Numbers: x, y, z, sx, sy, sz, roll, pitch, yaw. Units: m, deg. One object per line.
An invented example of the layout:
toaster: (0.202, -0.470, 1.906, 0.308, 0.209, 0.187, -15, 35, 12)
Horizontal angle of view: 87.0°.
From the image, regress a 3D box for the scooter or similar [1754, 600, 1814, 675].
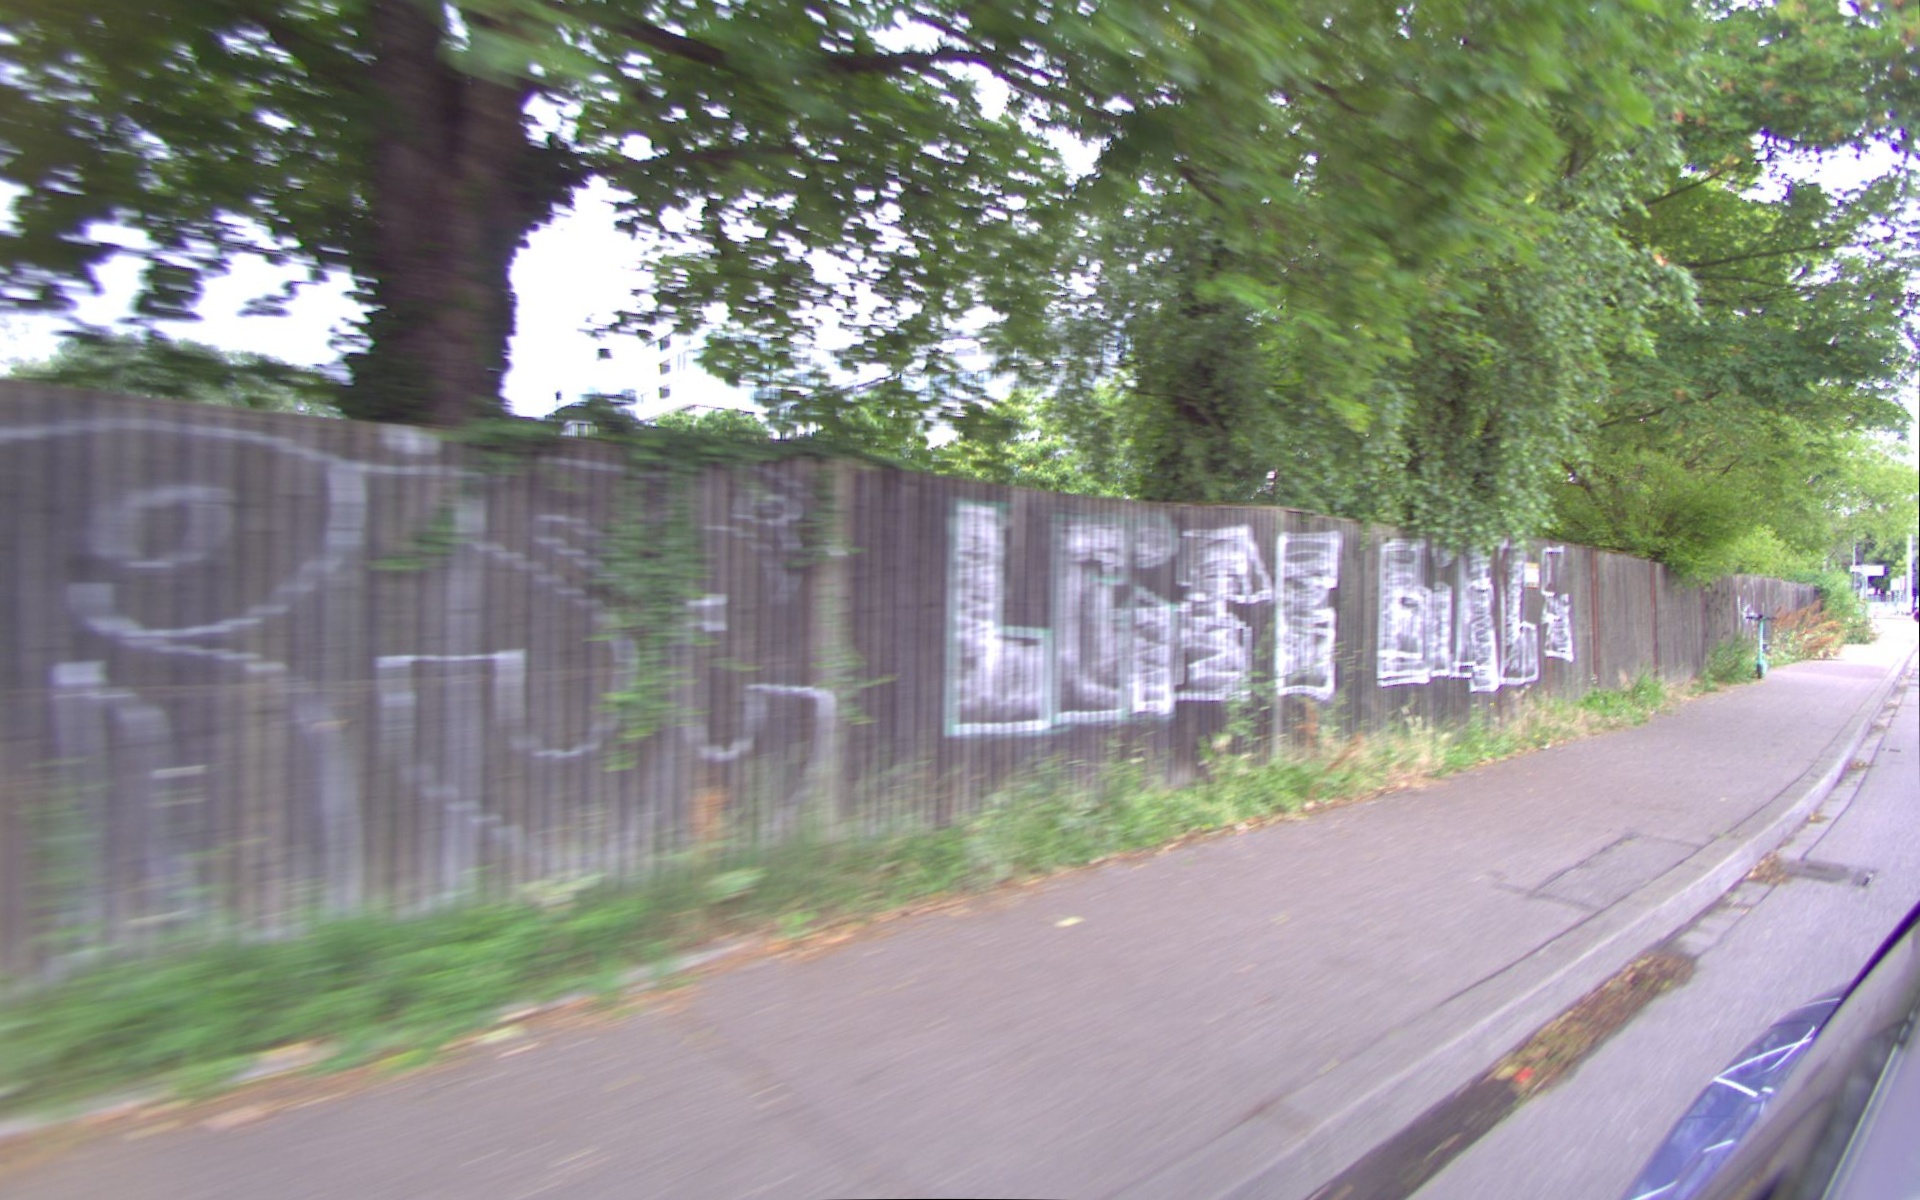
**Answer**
scooter or similar: (15.580, 0.686, 19.112, 0.691, 1.329, 2.315, 0, -1, 44)
